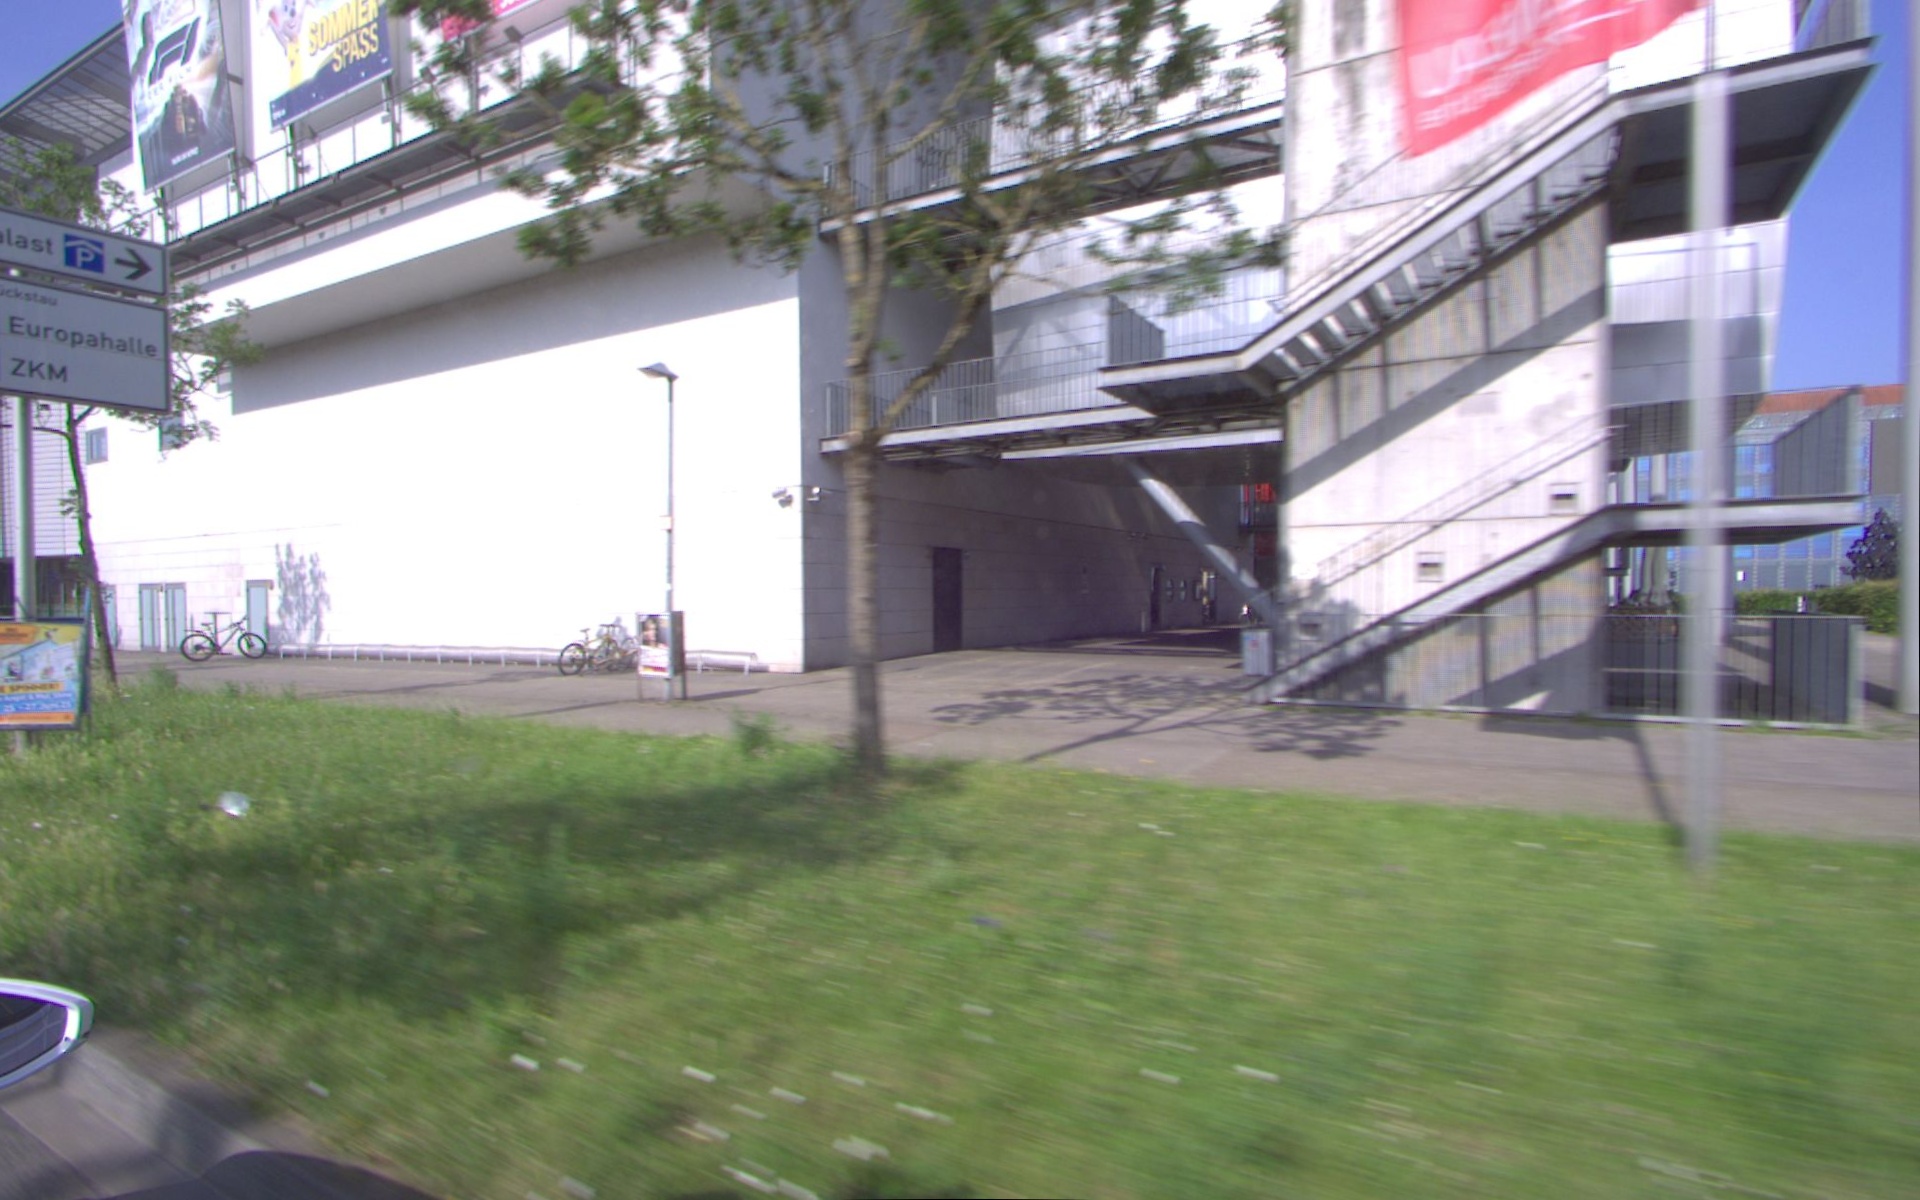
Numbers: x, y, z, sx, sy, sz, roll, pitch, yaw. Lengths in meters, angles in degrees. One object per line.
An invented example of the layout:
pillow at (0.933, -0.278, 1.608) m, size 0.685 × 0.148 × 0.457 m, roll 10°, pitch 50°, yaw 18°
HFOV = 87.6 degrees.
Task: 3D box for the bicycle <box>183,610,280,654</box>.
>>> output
bicycle at (-19.470, 0.835, 26.812) m, size 0.666 × 1.117 × 2.002 m, roll 0°, pitch 1°, yaw 35°

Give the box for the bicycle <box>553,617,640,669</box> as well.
bicycle at (-7.070, 0.822, 19.559) m, size 0.475 × 0.927 × 1.654 m, roll 1°, pitch 1°, yaw 31°

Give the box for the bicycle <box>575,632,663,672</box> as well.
bicycle at (-6.527, 0.983, 19.255) m, size 0.530 × 0.653 × 1.654 m, roll 0°, pitch 1°, yaw 31°
